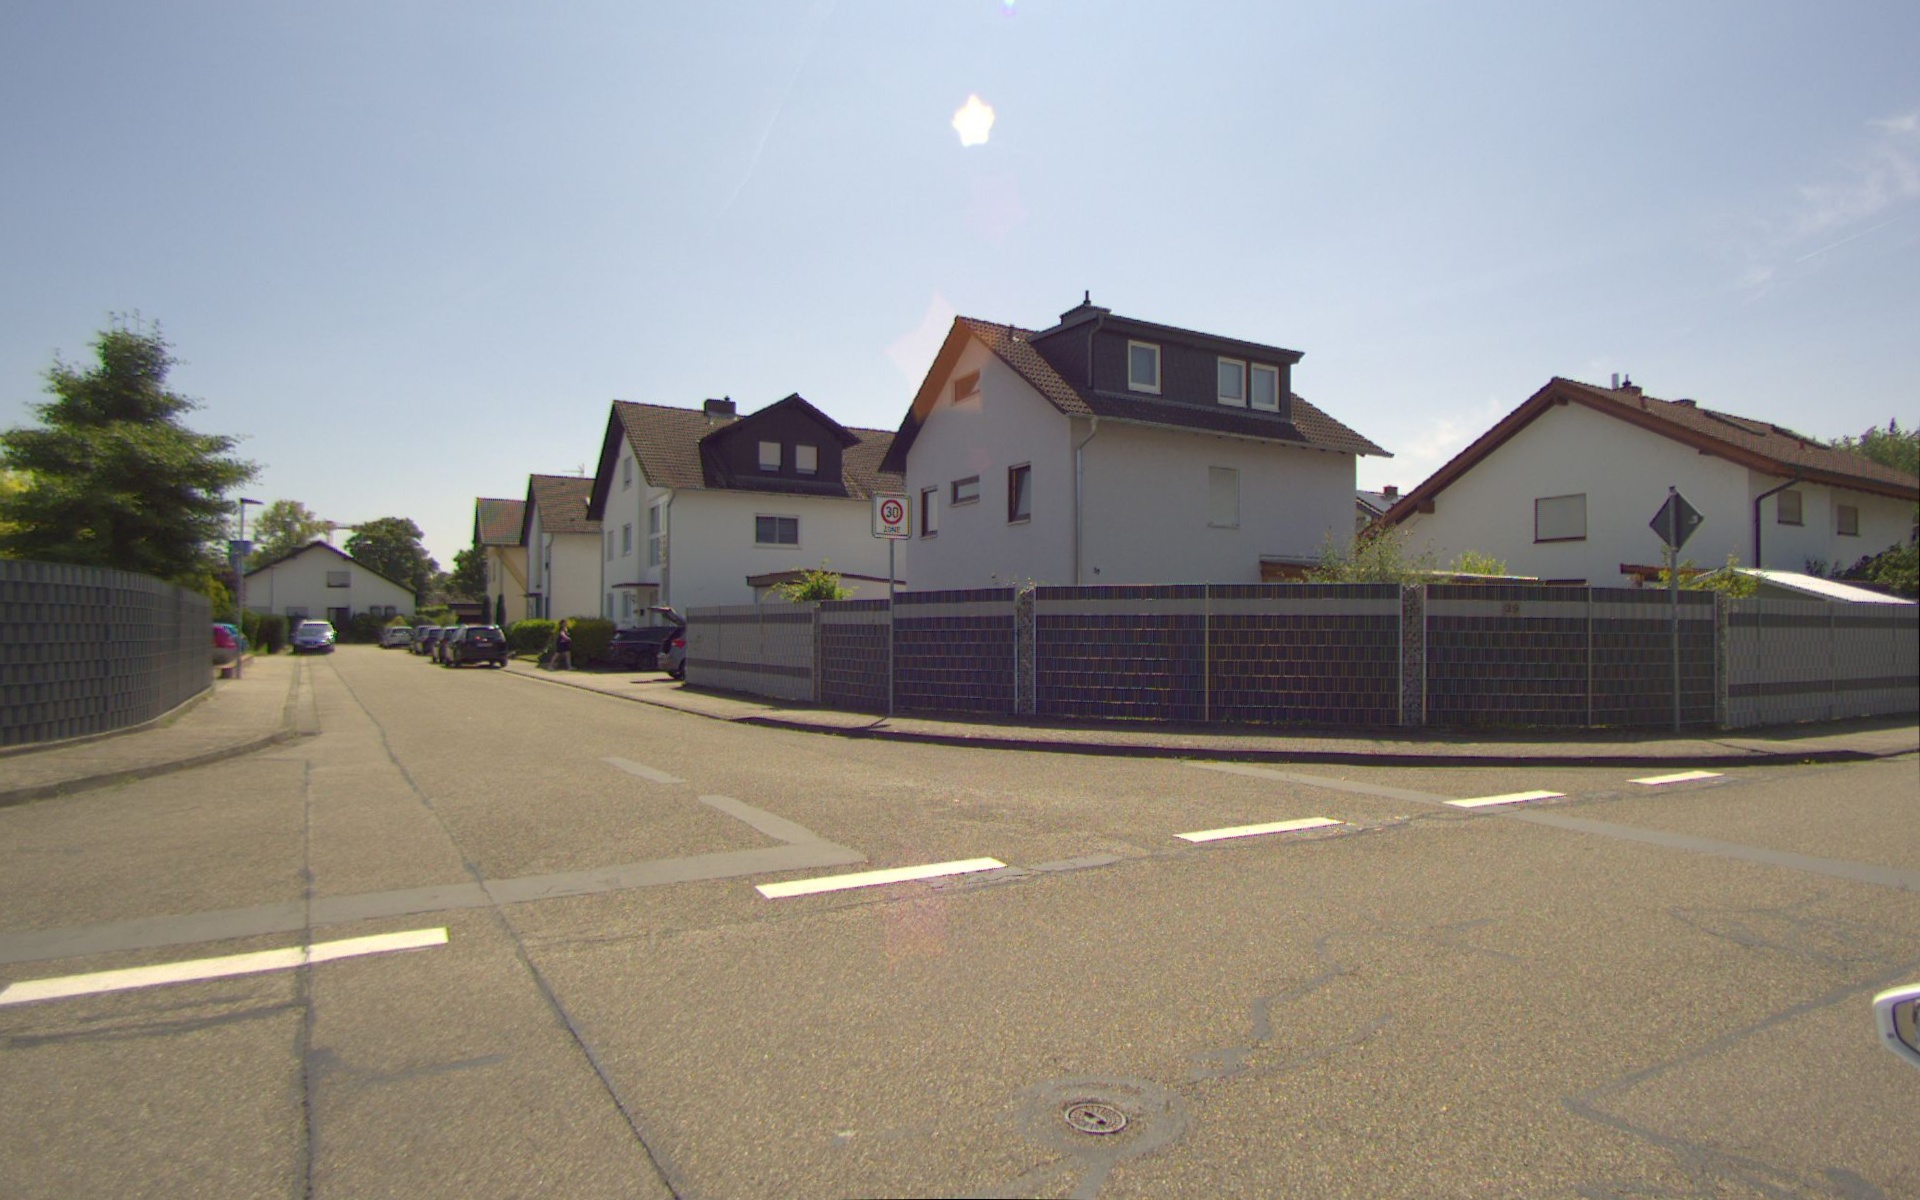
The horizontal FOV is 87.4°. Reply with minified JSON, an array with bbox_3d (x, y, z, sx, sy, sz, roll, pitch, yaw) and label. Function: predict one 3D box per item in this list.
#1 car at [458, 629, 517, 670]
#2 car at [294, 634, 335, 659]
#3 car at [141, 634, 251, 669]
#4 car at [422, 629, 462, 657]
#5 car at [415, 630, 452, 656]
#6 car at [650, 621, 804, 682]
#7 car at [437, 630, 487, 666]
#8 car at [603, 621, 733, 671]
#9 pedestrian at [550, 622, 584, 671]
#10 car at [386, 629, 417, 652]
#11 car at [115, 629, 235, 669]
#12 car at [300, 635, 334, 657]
[{"bbox_3d":[-17.556,1.785,37.247,1.751,1.431,3.971,1,-2,-28],"label":"car"},{"bbox_3d":[-34.162,2.416,53.230,1.687,1.260,3.924,1,-2,-31],"label":"car"},{"bbox_3d":[-34.423,2.281,45.394,3.880,1.505,1.662,1,-2,-36],"label":"car"},{"bbox_3d":[-27.255,2.235,52.809,1.751,1.431,3.971,1,-2,-28],"label":"car"},{"bbox_3d":[-29.911,2.424,57.029,1.751,1.431,3.971,1,-2,-28],"label":"car"},{"bbox_3d":[-6.643,1.433,28.699,3.953,1.617,1.759,1,-2,-30],"label":"car"},{"bbox_3d":[-20.857,1.968,41.999,1.751,1.431,3.971,1,-2,-28],"label":"car"},{"bbox_3d":[-9.970,1.558,34.360,3.954,1.617,1.759,1,-2,-31],"label":"car"},{"bbox_3d":[-13.392,1.585,34.249,0.847,1.648,0.664,-1,-2,21],"label":"pedestrian"},{"bbox_3d":[-36.911,2.661,66.474,1.751,1.431,3.971,1,-2,-28],"label":"car"},{"bbox_3d":[-33.245,2.050,42.695,3.922,1.607,1.741,1,-2,-36],"label":"car"},{"bbox_3d":[-36.423,2.574,56.964,1.480,1.186,3.403,1,-2,-31],"label":"car"}]
